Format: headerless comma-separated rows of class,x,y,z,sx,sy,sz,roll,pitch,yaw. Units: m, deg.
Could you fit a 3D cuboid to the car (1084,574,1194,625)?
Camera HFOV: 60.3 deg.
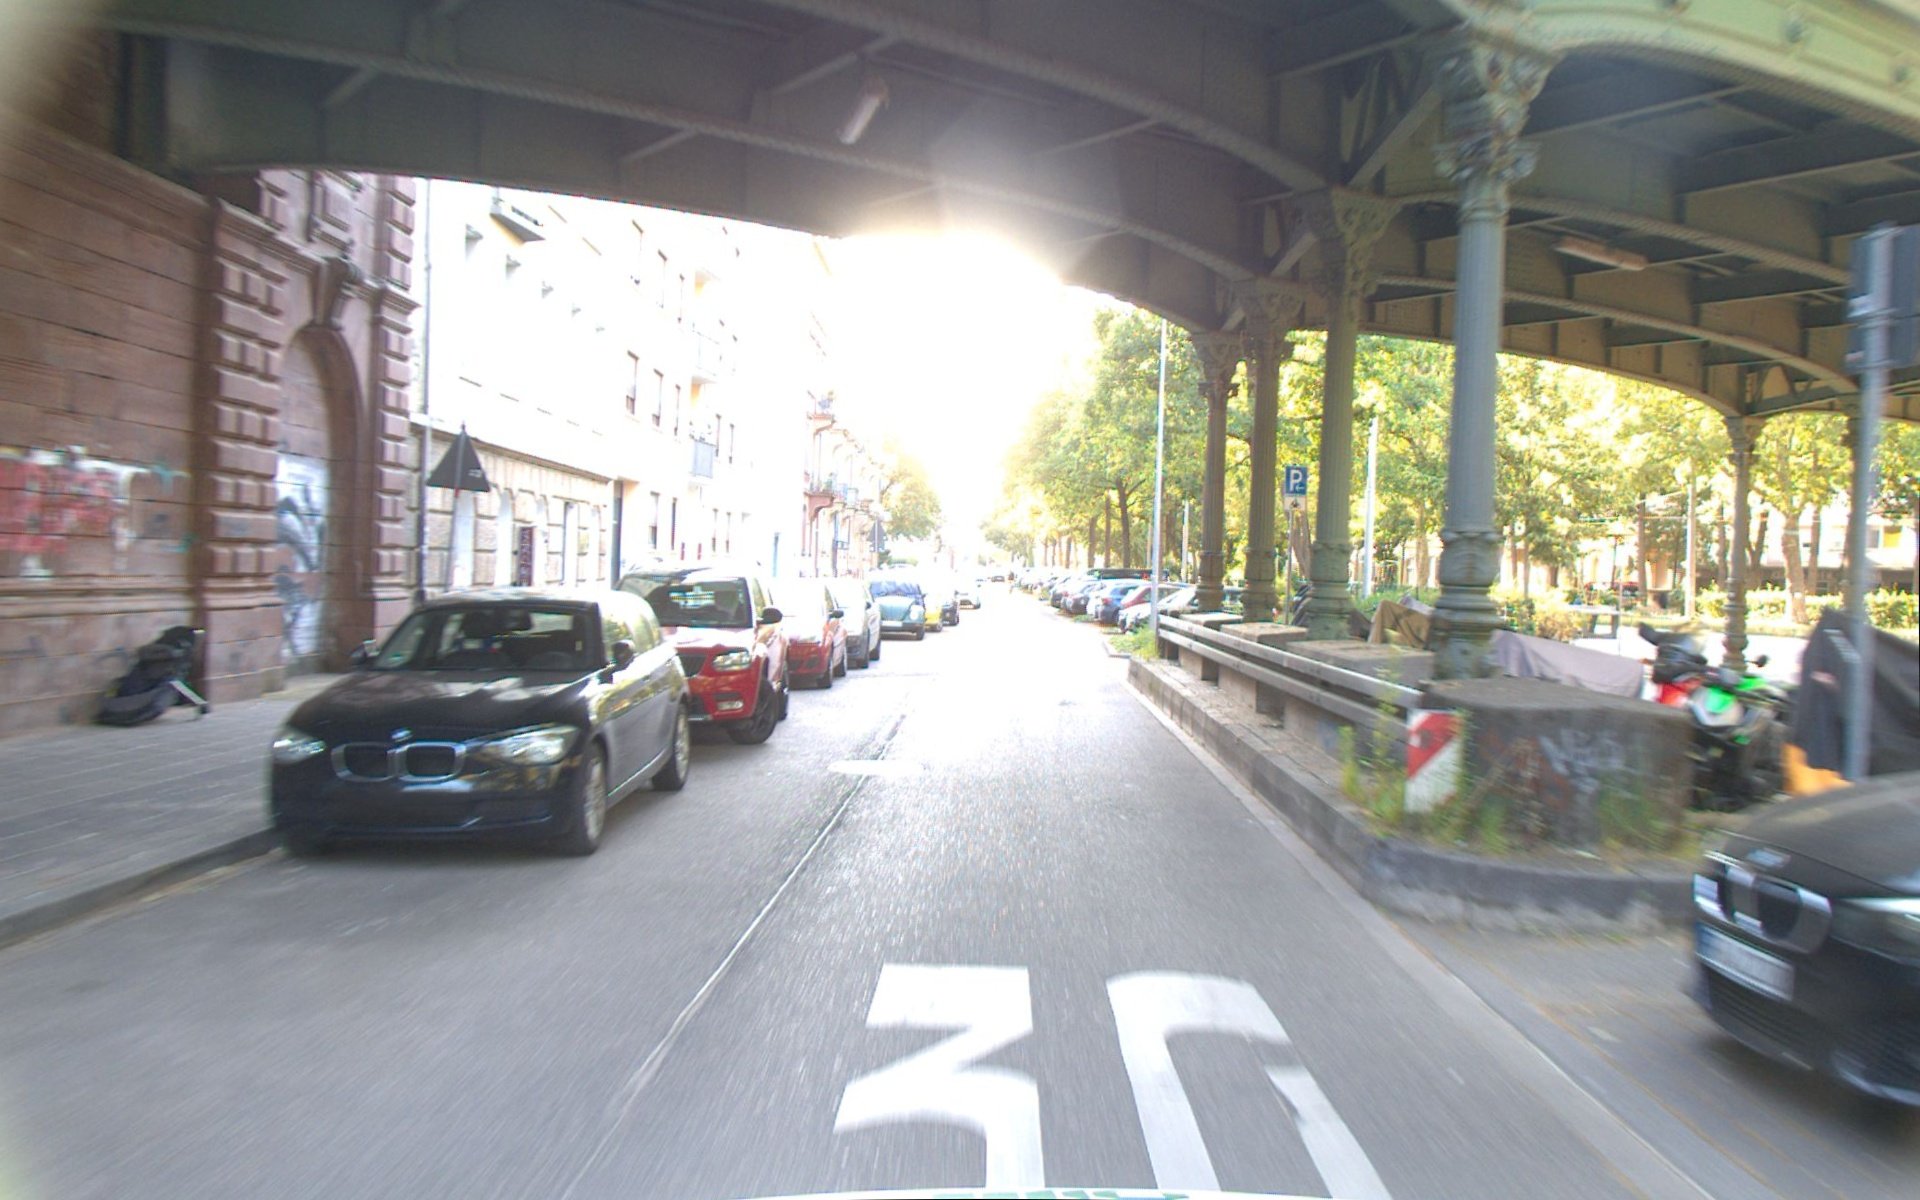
car,6.303,-0.019,58.341,3.704,1.675,1.664,1,-1,1

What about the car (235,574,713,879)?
car,-2.727,0.614,10.256,1.681,1.489,4.001,1,0,1

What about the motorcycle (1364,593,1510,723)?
motorcycle,5.683,0.678,19.698,1.567,1.433,0.712,3,-1,21

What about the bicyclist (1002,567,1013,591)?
bicyclist,3.242,-1.448,113.292,0.615,1.600,0.802,3,-1,-1

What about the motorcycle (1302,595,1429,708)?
motorcycle,5.562,0.702,22.682,1.567,1.433,0.712,3,-1,21

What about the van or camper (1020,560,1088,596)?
van or camper,7.089,-1.661,125.525,4.881,2.418,2.184,3,-1,-1

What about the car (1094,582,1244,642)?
car,5.379,0.308,42.942,3.703,1.426,1.827,1,-1,2

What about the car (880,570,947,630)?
car,-1.249,-0.029,45.795,1.668,1.551,3.774,2,1,0

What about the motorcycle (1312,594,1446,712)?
motorcycle,5.495,0.688,21.670,1.567,1.433,0.712,3,-1,21

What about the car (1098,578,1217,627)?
car,6.288,0.089,52.840,3.702,1.472,1.665,1,-1,6

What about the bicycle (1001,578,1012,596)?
bicycle,3.205,-0.894,113.139,0.628,1.119,1.943,3,-1,-1

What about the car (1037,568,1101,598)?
car,7.138,-1.128,108.543,4.132,1.896,1.762,0,1,1

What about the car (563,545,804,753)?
car,-2.546,0.395,16.174,1.682,1.737,4.322,1,0,-1

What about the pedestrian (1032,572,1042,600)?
pedestrian,4.499,-0.820,96.446,0.372,1.612,0.519,3,3,20

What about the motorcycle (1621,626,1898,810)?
motorcycle,5.061,0.737,10.448,1.705,1.048,0.803,4,-1,-34

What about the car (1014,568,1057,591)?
car,7.100,-1.928,155.811,3.907,1.825,1.858,3,-1,-2

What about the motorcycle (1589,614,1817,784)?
motorcycle,5.471,0.726,12.143,1.705,1.152,0.704,4,-1,-34

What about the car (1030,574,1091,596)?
car,6.876,-1.013,112.998,4.131,1.478,1.650,0,1,5

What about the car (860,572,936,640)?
car,-1.478,0.118,40.578,1.534,1.544,3.783,2,1,2

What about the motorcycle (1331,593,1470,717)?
motorcycle,5.539,0.681,20.801,1.567,1.433,0.712,3,-1,21

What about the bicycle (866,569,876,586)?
bicycle,-6.478,-1.632,120.589,0.691,1.167,1.889,3,-1,-3

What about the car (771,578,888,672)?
car,-2.203,0.379,28.721,1.603,1.492,4.001,-1,1,1

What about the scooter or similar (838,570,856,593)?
scooter or similar,-6.661,-1.086,97.508,0.767,1.243,2.704,3,-1,0

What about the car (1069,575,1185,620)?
car,6.347,-0.096,63.068,4.306,1.605,1.665,1,-1,5

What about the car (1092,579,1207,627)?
car,6.355,0.117,55.706,3.703,1.499,1.665,1,-1,3

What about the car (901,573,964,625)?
car,-0.796,-0.068,50.661,1.703,1.505,4.001,1,1,2

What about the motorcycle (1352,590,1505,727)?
motorcycle,5.324,0.648,18.790,1.567,1.433,0.712,3,-1,21

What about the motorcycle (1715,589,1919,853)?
motorcycle,5.070,0.631,8.757,1.905,1.259,0.898,4,-1,-25

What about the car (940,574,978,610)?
car,-0.021,-0.392,73.679,1.634,1.455,4.002,0,2,1

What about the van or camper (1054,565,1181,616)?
van or camper,6.732,-0.420,70.997,5.301,2.062,2.030,1,1,3

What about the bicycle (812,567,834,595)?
bicycle,-6.556,-0.921,79.486,0.721,1.227,2.515,3,2,1

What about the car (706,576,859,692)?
car,-2.453,0.425,23.714,1.654,1.466,4.001,2,1,1

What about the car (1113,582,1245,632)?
car,6.648,0.223,50.492,3.707,1.426,1.765,1,-1,-3

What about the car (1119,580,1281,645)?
car,5.913,0.318,40.934,3.707,1.498,1.634,1,-1,-3

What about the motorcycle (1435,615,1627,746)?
motorcycle,5.441,0.763,15.776,1.574,1.152,0.709,3,-1,-16

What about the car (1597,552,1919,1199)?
car,4.371,0.814,4.887,4.286,1.605,1.674,3,-1,-1

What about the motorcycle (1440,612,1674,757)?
motorcycle,5.228,0.737,14.495,1.806,1.152,0.845,3,-1,-23
